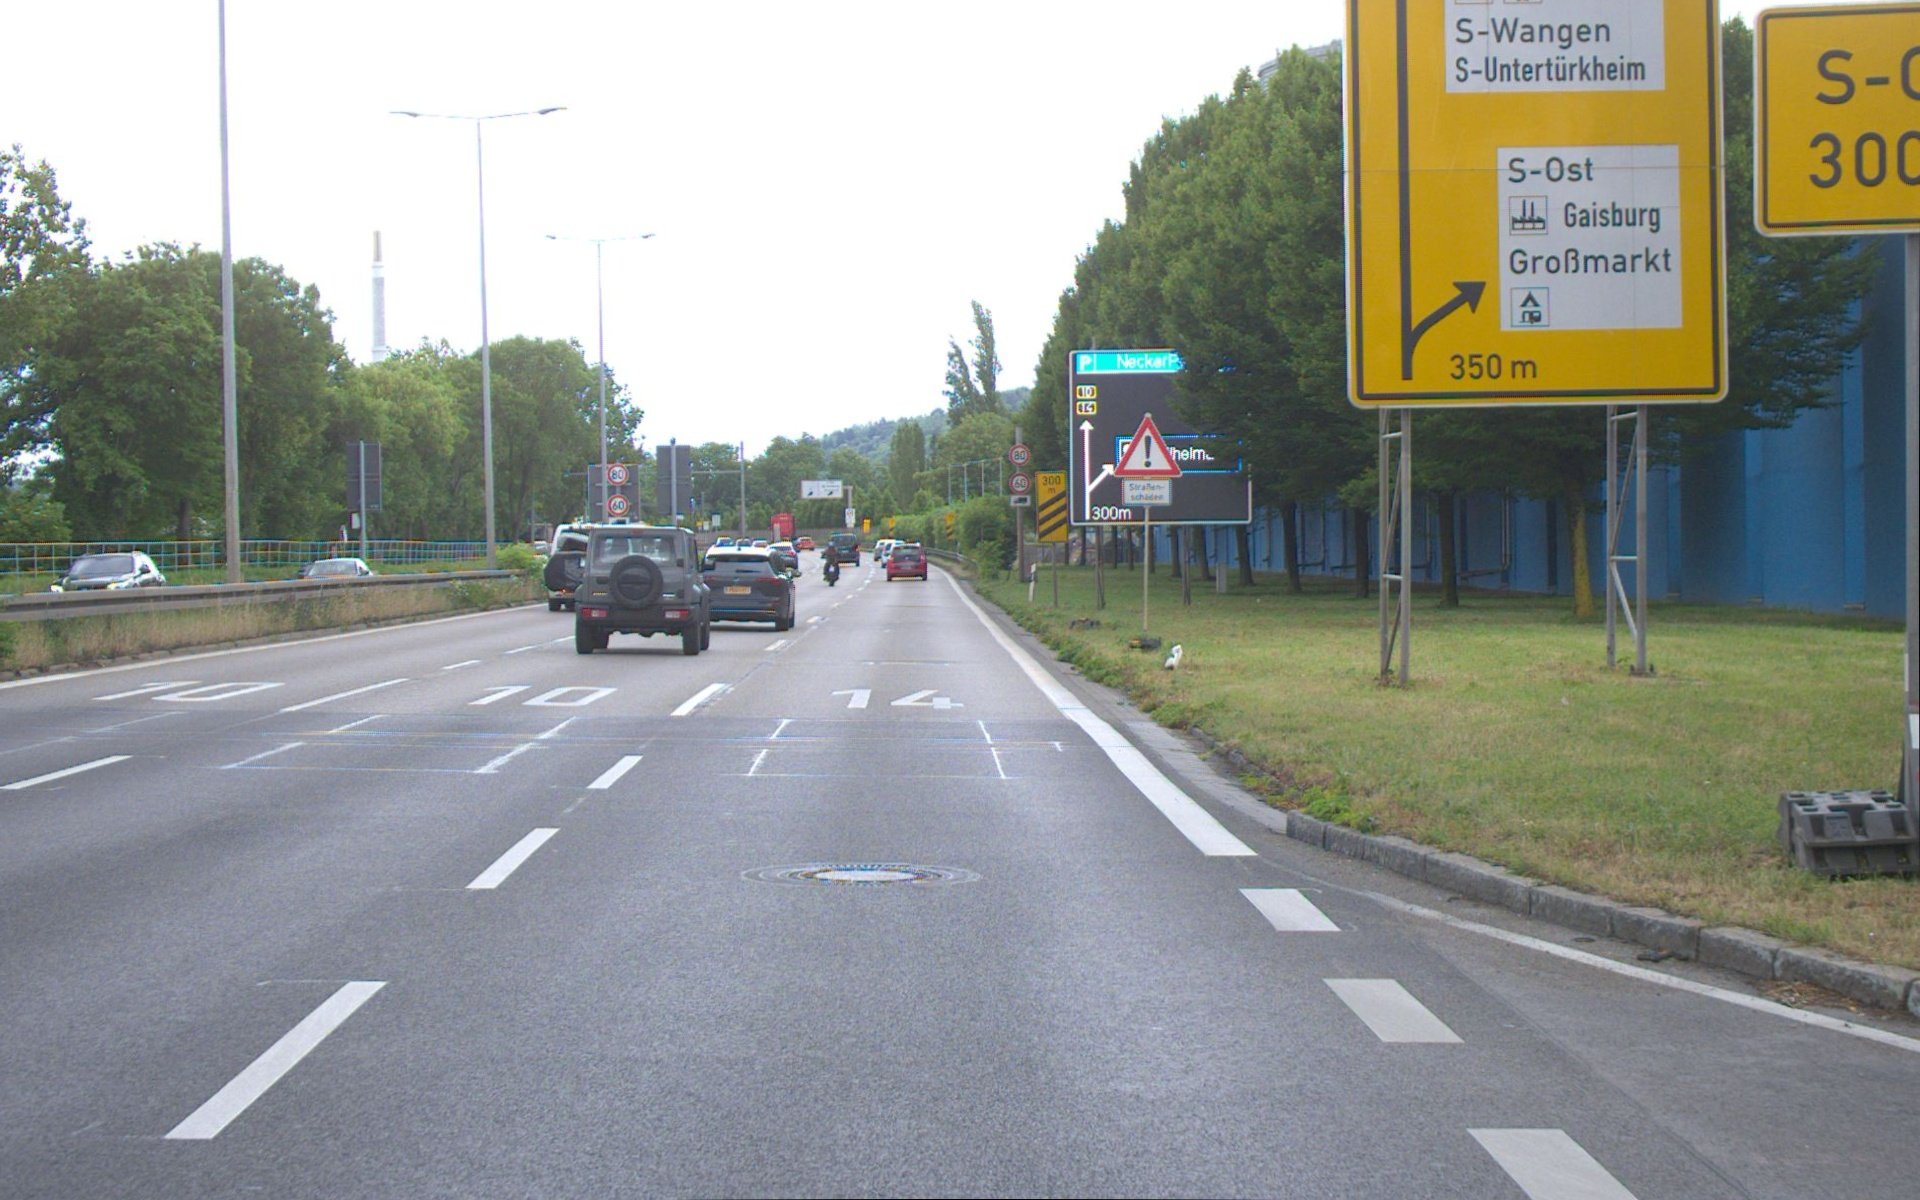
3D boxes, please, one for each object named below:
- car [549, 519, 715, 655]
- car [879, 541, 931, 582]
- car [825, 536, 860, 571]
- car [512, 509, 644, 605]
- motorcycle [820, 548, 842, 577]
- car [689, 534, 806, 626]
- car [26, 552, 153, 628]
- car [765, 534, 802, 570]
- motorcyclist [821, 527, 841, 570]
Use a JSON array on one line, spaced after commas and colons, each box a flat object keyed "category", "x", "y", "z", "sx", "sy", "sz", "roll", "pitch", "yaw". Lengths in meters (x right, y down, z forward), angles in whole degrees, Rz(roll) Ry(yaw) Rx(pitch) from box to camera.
[{"category": "car", "x": -4.372, "y": -0.216, "z": 46.352, "sx": 1.907, "sy": 1.678, "sz": 4.001, "roll": 2, "pitch": 2, "yaw": -2}, {"category": "car", "x": -2.266, "y": -1.596, "z": 141.322, "sx": 1.993, "sy": 1.546, "sz": 4.001, "roll": 2, "pitch": 2, "yaw": -2}, {"category": "car", "x": -7.182, "y": -2.855, "z": 210.221, "sx": 1.993, "sy": 2.006, "sz": 4.001, "roll": 2, "pitch": 2, "yaw": -1}, {"category": "car", "x": -8.155, "y": -0.960, "z": 73.837, "sx": 2.214, "sy": 1.919, "sz": 5.003, "roll": 2, "pitch": 2, "yaw": 0}, {"category": "motorcycle", "x": -4.871, "y": -1.431, "z": 129.435, "sx": 0.706, "sy": 1.036, "sz": 2.027, "roll": 2, "pitch": 2, "yaw": 0}, {"category": "car", "x": -3.666, "y": -0.378, "z": 59.877, "sx": 1.840, "sy": 1.459, "sz": 4.001, "roll": 2, "pitch": 2, "yaw": -1}, {"category": "car", "x": -20.433, "y": -0.255, "z": 80.869, "sx": 1.993, "sy": 1.634, "sz": 4.001, "roll": 2, "pitch": 2, "yaw": -1}, {"category": "car", "x": -10.391, "y": -2.841, "z": 202.350, "sx": 1.993, "sy": 2.006, "sz": 4.001, "roll": 2, "pitch": 2, "yaw": -1}, {"category": "motorcyclist", "x": -4.869, "y": -1.933, "z": 129.526, "sx": 0.685, "sy": 1.604, "sz": 0.845, "roll": 2, "pitch": 1, "yaw": 0}]
